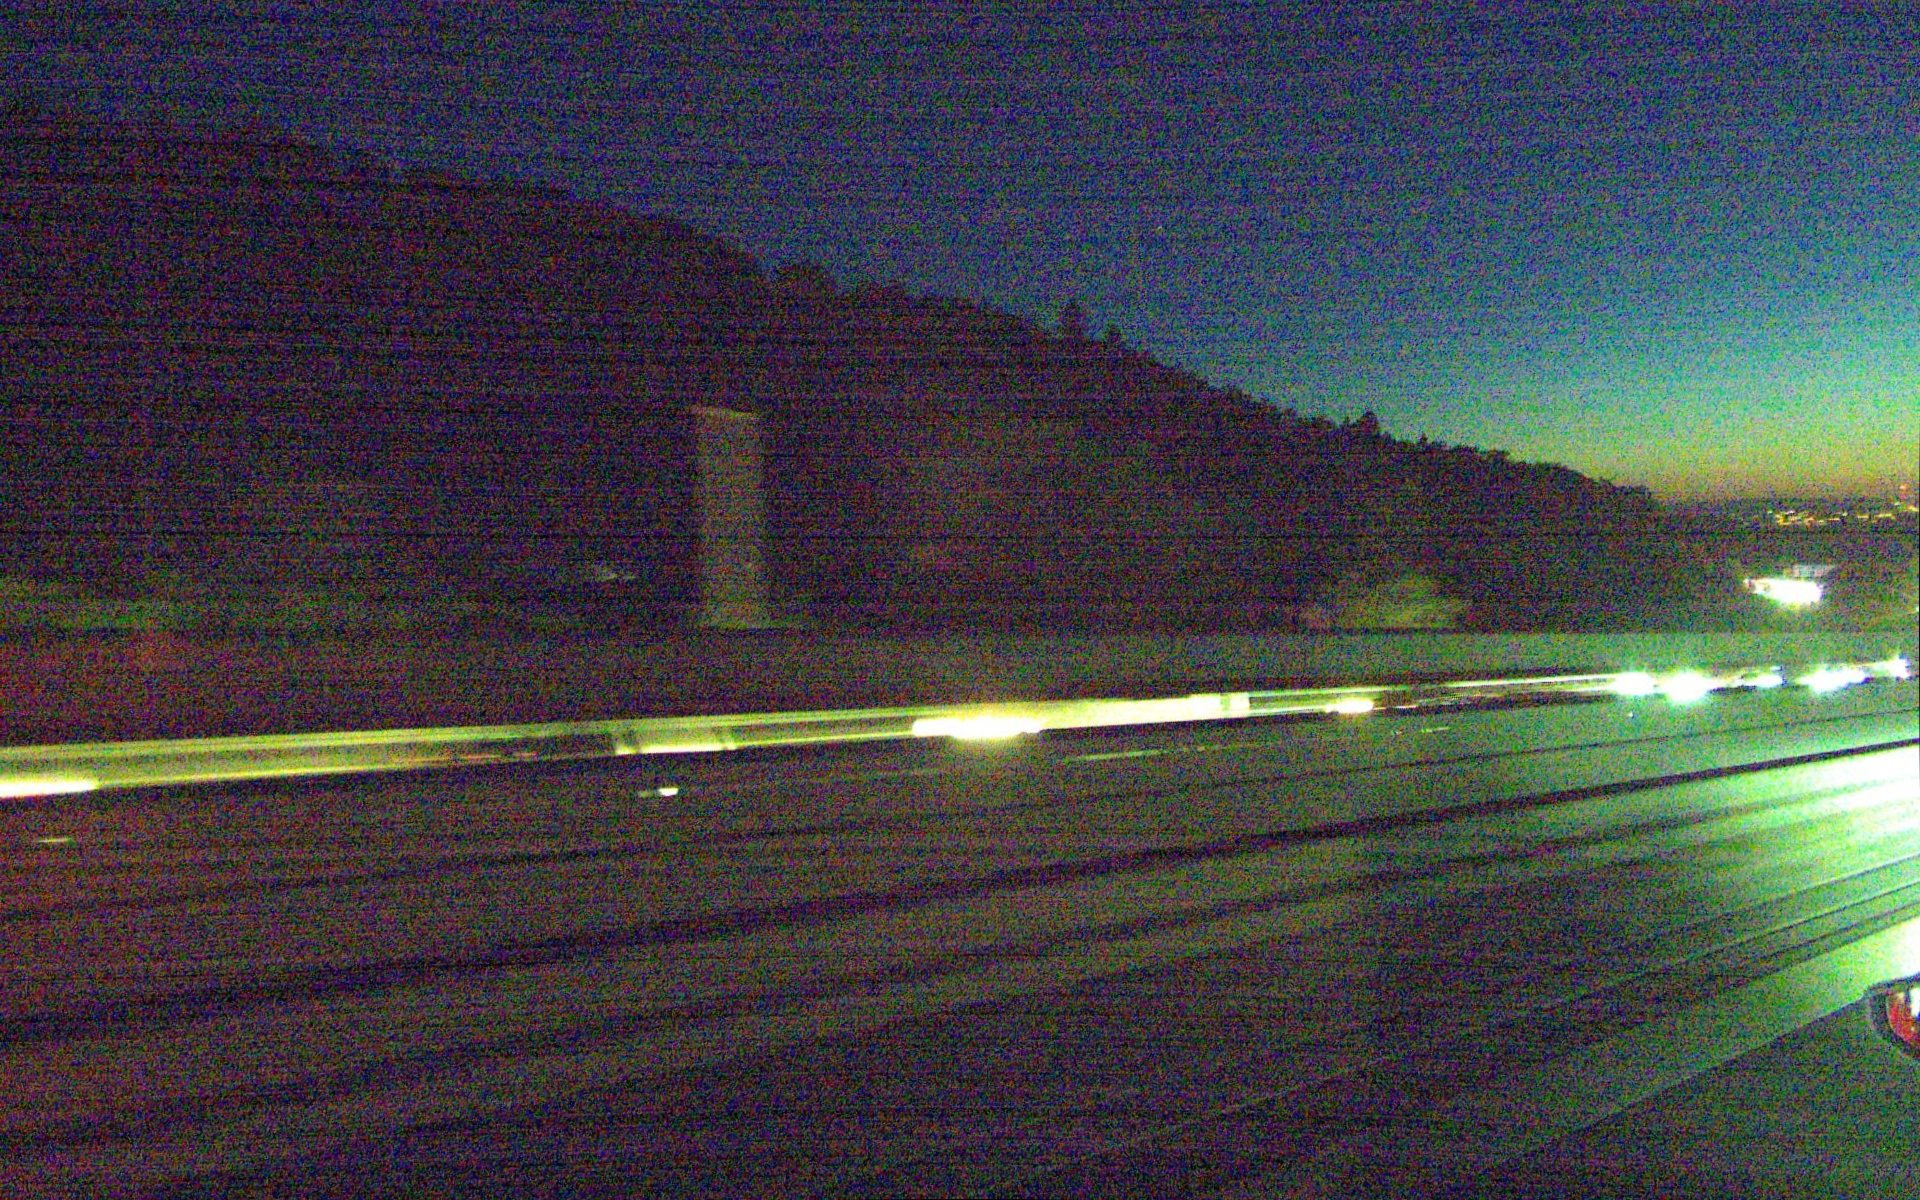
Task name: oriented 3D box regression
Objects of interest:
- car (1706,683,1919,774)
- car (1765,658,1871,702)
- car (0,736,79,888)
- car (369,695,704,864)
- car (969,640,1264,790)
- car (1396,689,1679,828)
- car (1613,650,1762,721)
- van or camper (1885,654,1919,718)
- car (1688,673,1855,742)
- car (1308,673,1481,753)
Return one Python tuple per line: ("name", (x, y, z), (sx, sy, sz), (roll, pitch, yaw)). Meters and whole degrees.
("car", (18.230, 2.634, 21.409), (5.058, 1.469, 2.127), (1, -2, -33))
("car", (32.194, 2.958, 37.680), (3.953, 1.461, 1.829), (1, -2, -30))
("car", (-12.208, 2.360, 10.690), (3.955, 1.477, 1.814), (1, -3, -32))
("car", (-5.697, 2.283, 13.636), (3.953, 1.739, 1.942), (1, -2, -30))
("car", (3.101, 2.042, 19.392), (5.629, 2.474, 2.018), (1, -1, -31))
("car", (8.413, 2.160, 14.545), (4.232, 1.488, 1.807), (1, -1, -33))
("car", (23.914, 2.725, 32.992), (5.053, 2.081, 2.129), (1, -2, -31))
("van or camper", (33.967, 2.929, 34.639), (5.170, 2.040, 1.981), (1, -2, -36))
("car", (22.395, 2.884, 27.669), (5.058, 1.509, 2.127), (1, -2, -33))
("car", (10.569, 2.665, 24.377), (4.232, 1.578, 1.807), (1, -1, -33))
